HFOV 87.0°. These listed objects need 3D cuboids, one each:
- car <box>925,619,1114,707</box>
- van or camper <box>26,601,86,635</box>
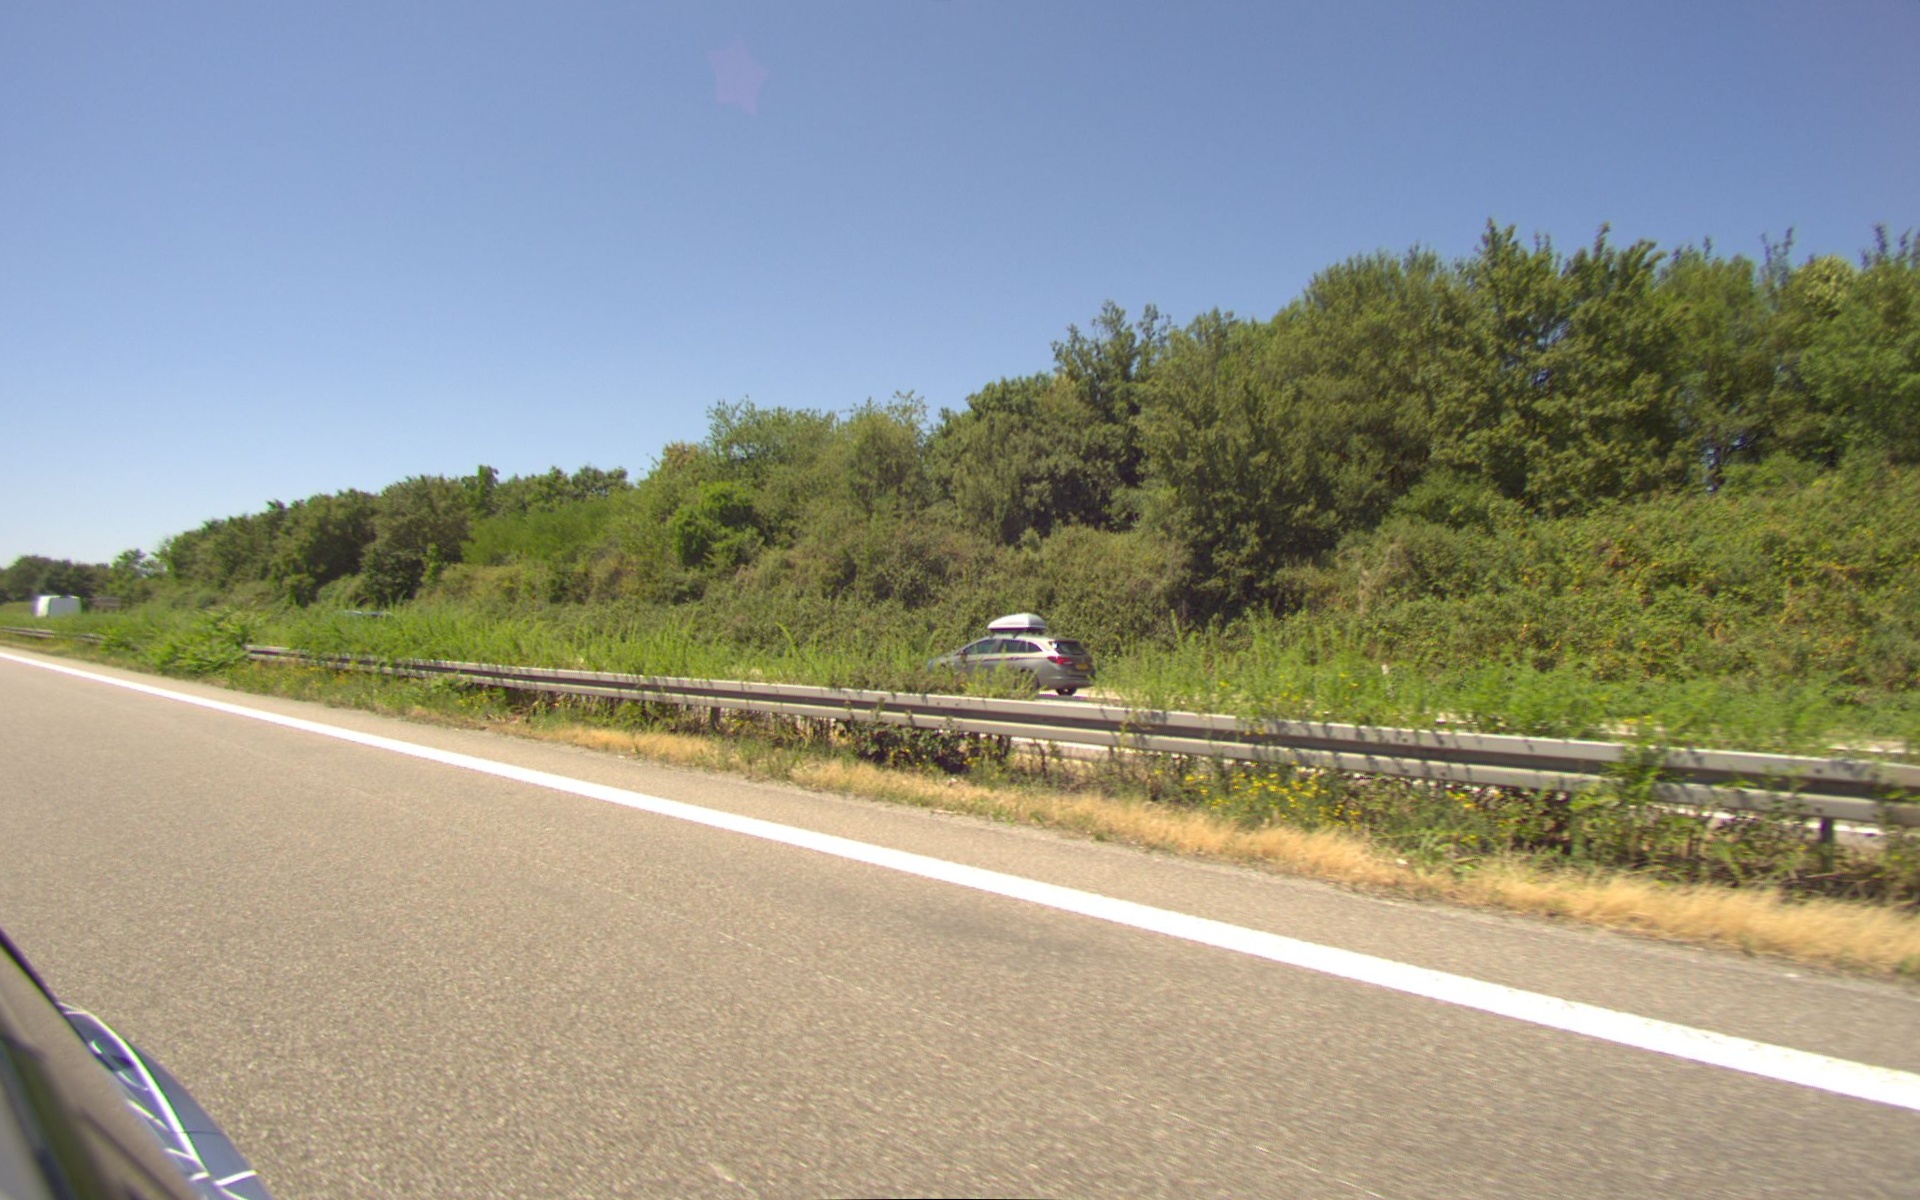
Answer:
[{"bbox_3d":[1.386,1.438,24.567,4.300,1.929,1.973,-1,-2,41],"label":"car"},{"bbox_3d":[-65.255,1.274,73.035,6.332,2.383,2.400,-1,0,41],"label":"van or camper"}]
